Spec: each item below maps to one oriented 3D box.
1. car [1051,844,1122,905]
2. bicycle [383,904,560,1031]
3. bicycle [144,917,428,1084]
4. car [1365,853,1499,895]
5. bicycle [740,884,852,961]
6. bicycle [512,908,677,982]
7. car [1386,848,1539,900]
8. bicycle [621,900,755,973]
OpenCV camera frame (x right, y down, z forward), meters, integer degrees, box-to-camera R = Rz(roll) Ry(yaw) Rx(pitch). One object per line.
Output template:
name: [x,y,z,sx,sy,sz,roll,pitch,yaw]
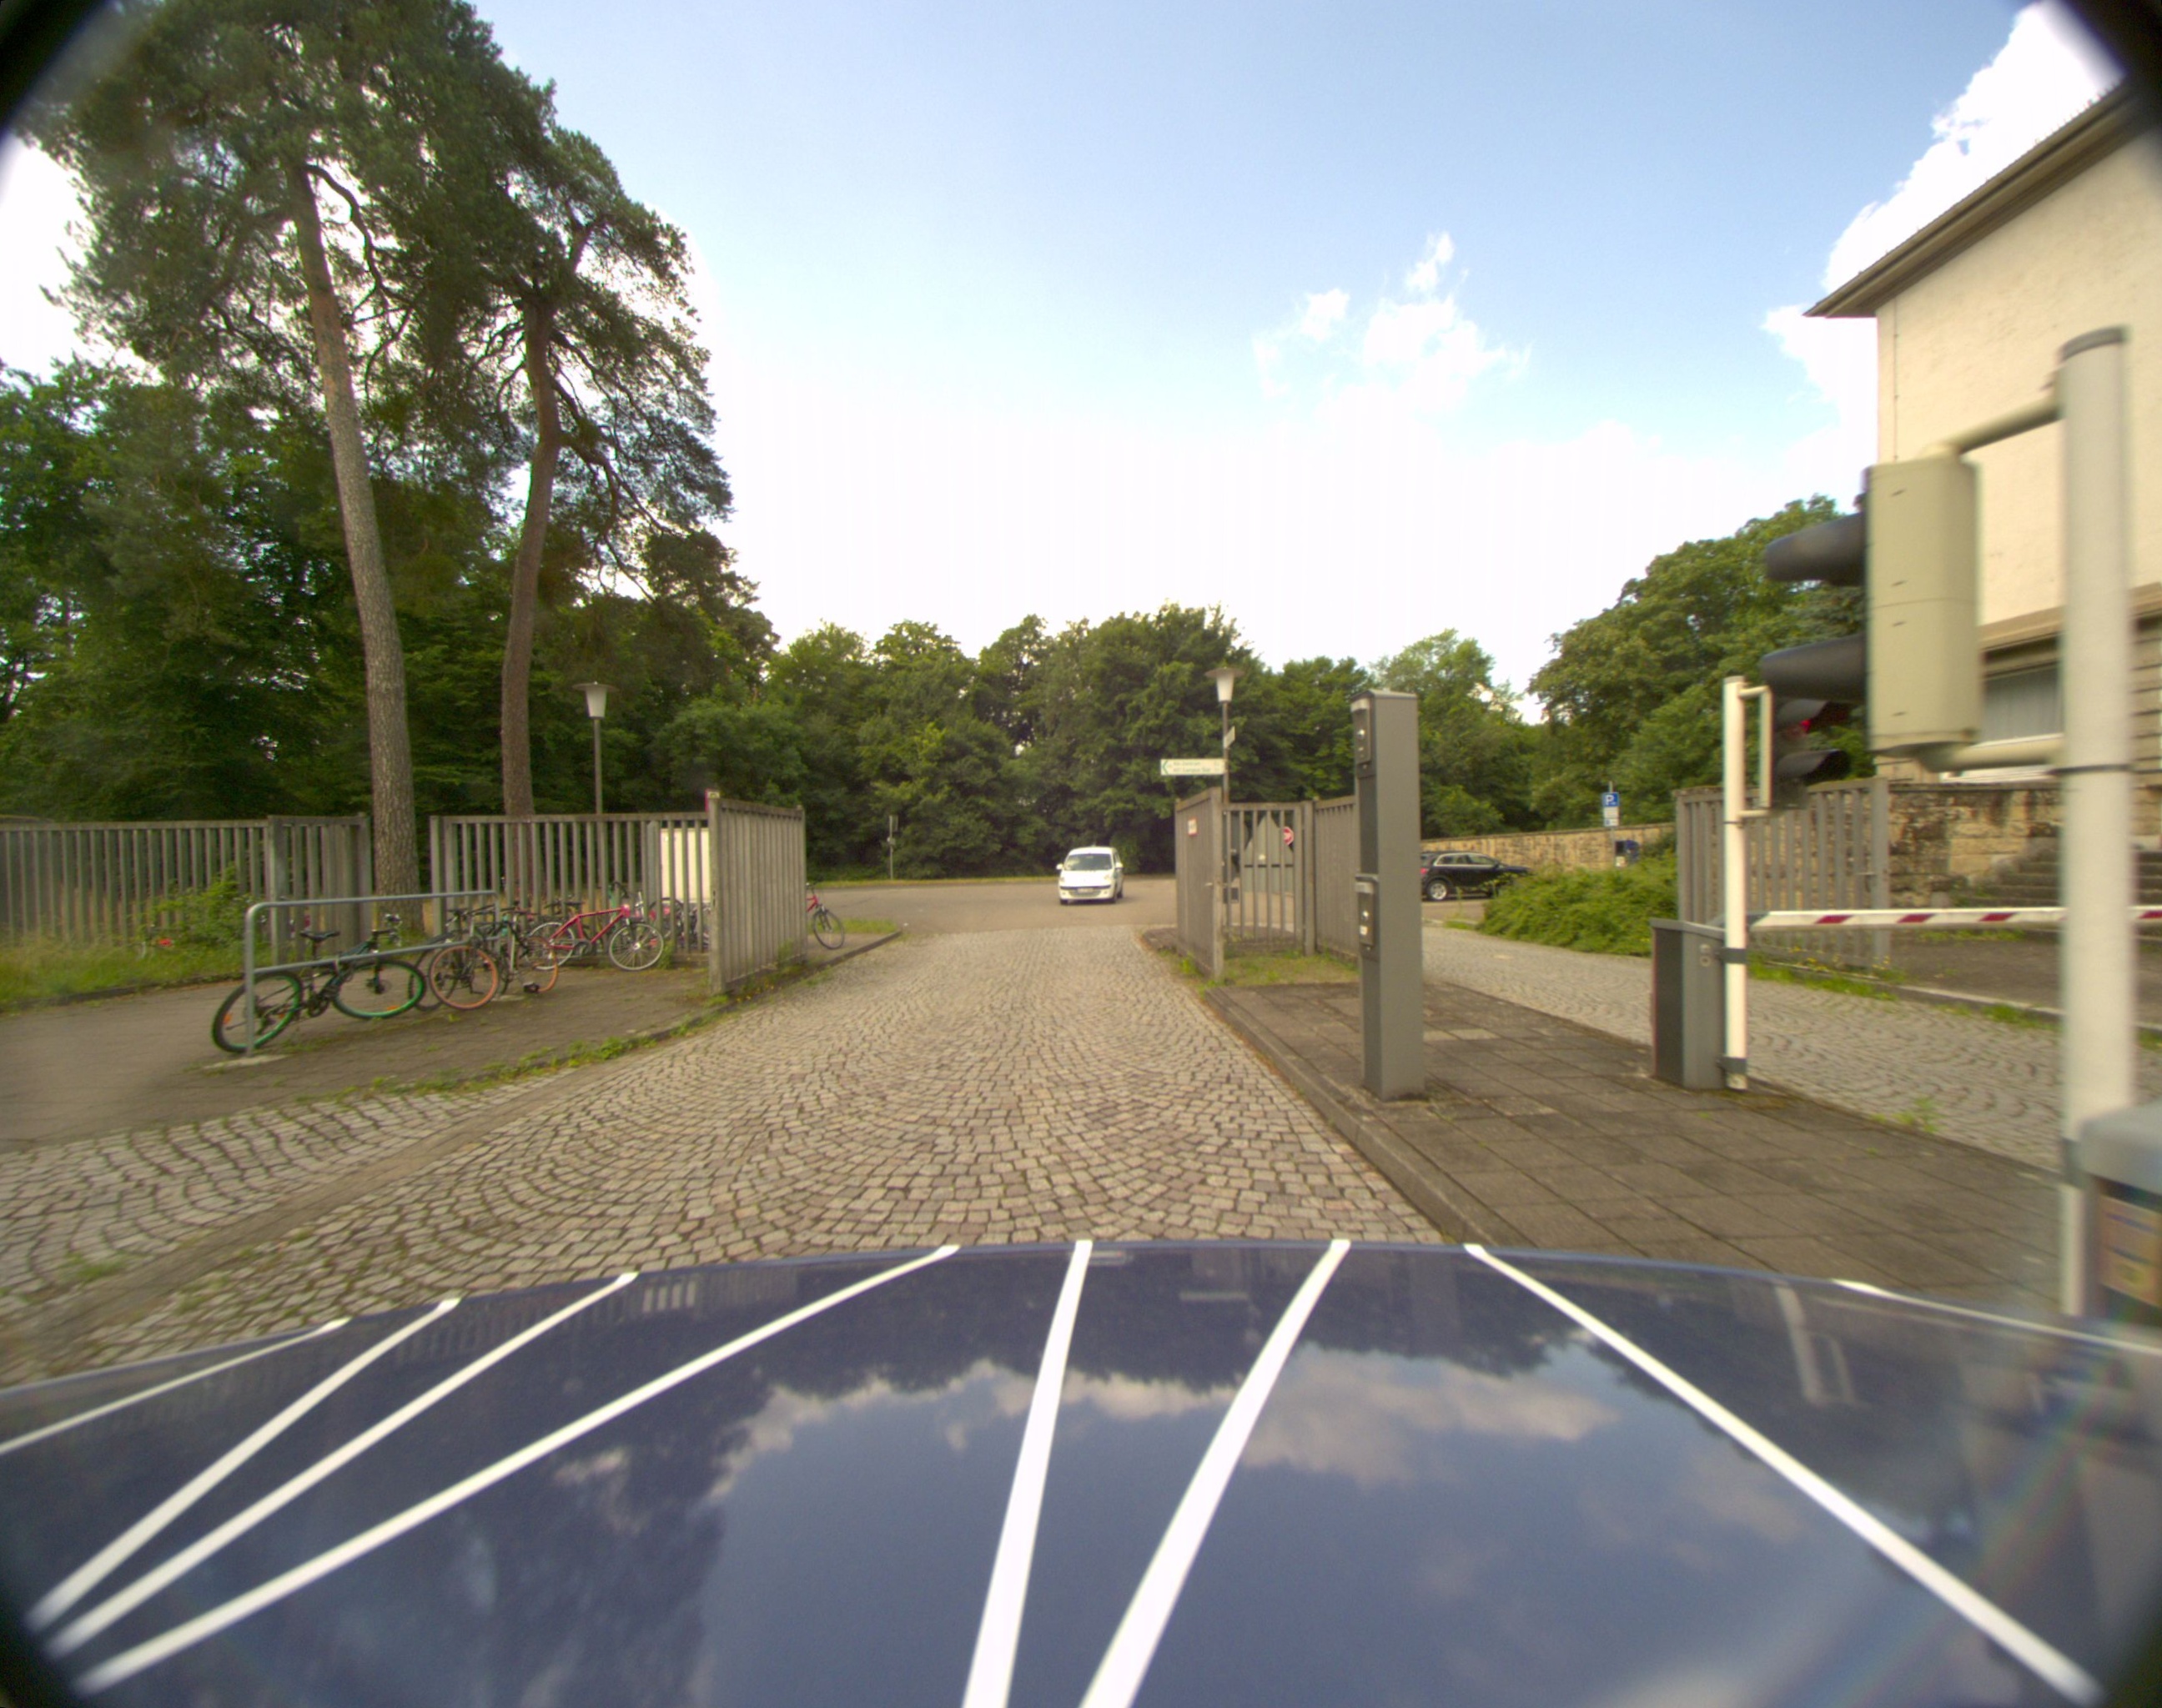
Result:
car: [0.270,0.592,24.247,1.866,1.749,4.150,-1,0,5]
bicycle: [-6.284,1.115,7.956,0.474,1.051,1.732,-1,1,-2]
bicycle: [-6.396,1.117,6.256,0.692,1.056,1.565,-1,1,-2]
car: [12.649,0.705,27.580,3.996,1.338,1.802,-2,1,4]
bicycle: [-4.787,1.131,12.847,1.655,1.223,0.748,0,1,-10]
bicycle: [-6.618,1.231,10.400,1.868,0.934,0.503,0,1,-7]
car: [12.214,0.630,24.531,3.996,1.509,1.802,-2,1,4]
bicycle: [-5.707,1.194,11.065,1.730,1.027,0.387,0,1,-1]
